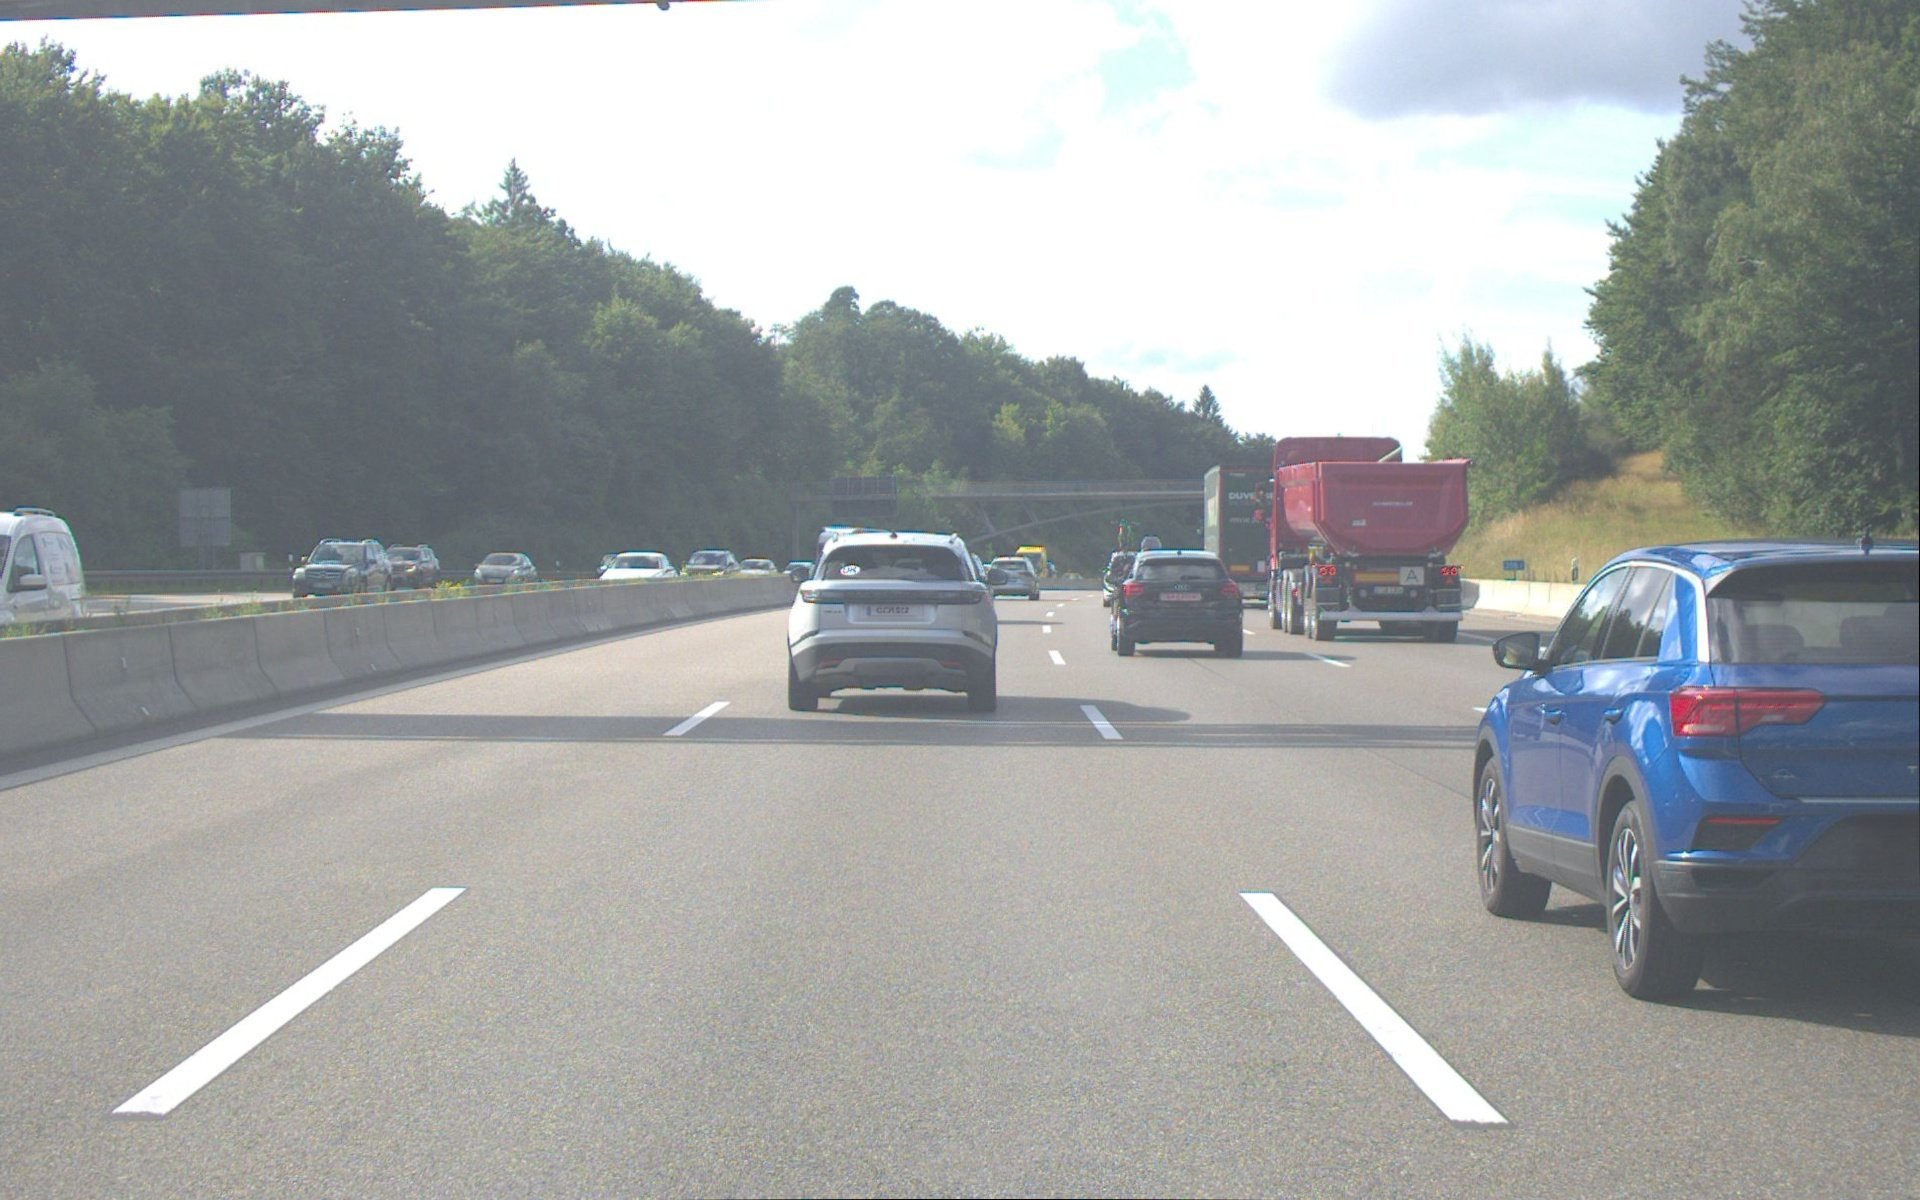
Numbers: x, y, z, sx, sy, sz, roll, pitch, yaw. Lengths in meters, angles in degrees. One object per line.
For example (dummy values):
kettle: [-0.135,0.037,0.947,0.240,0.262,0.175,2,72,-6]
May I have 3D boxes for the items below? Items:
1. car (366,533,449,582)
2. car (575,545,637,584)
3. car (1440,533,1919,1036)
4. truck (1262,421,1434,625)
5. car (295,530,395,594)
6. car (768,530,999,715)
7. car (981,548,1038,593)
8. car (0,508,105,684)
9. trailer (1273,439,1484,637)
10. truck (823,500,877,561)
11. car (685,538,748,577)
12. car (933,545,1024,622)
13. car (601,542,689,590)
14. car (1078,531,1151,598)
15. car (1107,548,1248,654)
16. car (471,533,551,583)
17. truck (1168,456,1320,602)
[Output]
car: [-19.758,-1.535,123.105,1.928,1.710,4.422,1,1,5]
car: [-16.237,-1.633,157.705,1.929,1.710,4.422,1,1,6]
car: [3.032,0.532,12.714,1.773,1.525,4.458,1,1,-1]
truck: [7.397,-1.469,66.177,2.710,3.706,5.817,1,1,1]
car: [-16.279,-1.010,91.181,1.666,1.634,4.479,1,1,2]
car: [-0.652,0.158,33.136,2.006,1.611,5.301,1,1,1]
car: [1.695,-0.993,116.201,1.822,1.452,4.000,1,0,2]
car: [-9.847,-0.076,33.792,1.769,1.643,4.520,1,1,0]
trailer: [7.319,-1.100,61.306,2.710,3.220,9.732,1,1,1]
truck: [-7.390,-4.669,231.384,2.707,4.054,6.597,1,1,6]
car: [-9.601,-1.678,135.976,1.722,1.474,4.629,1,1,6]
car: [0.414,-0.364,72.406,1.822,1.541,4.000,1,1,1]
car: [-8.862,-0.967,97.046,1.723,1.305,4.881,1,1,4]
car: [4.380,-1.022,97.750,1.893,1.850,4.100,1,1,0]
car: [3.116,-0.017,49.953,1.822,1.452,4.000,1,1,1]
car: [-15.537,-1.463,119.216,1.928,1.710,4.422,1,1,4]
truck: [8.052,-2.022,98.843,3.118,3.921,10.412,1,1,-2]
